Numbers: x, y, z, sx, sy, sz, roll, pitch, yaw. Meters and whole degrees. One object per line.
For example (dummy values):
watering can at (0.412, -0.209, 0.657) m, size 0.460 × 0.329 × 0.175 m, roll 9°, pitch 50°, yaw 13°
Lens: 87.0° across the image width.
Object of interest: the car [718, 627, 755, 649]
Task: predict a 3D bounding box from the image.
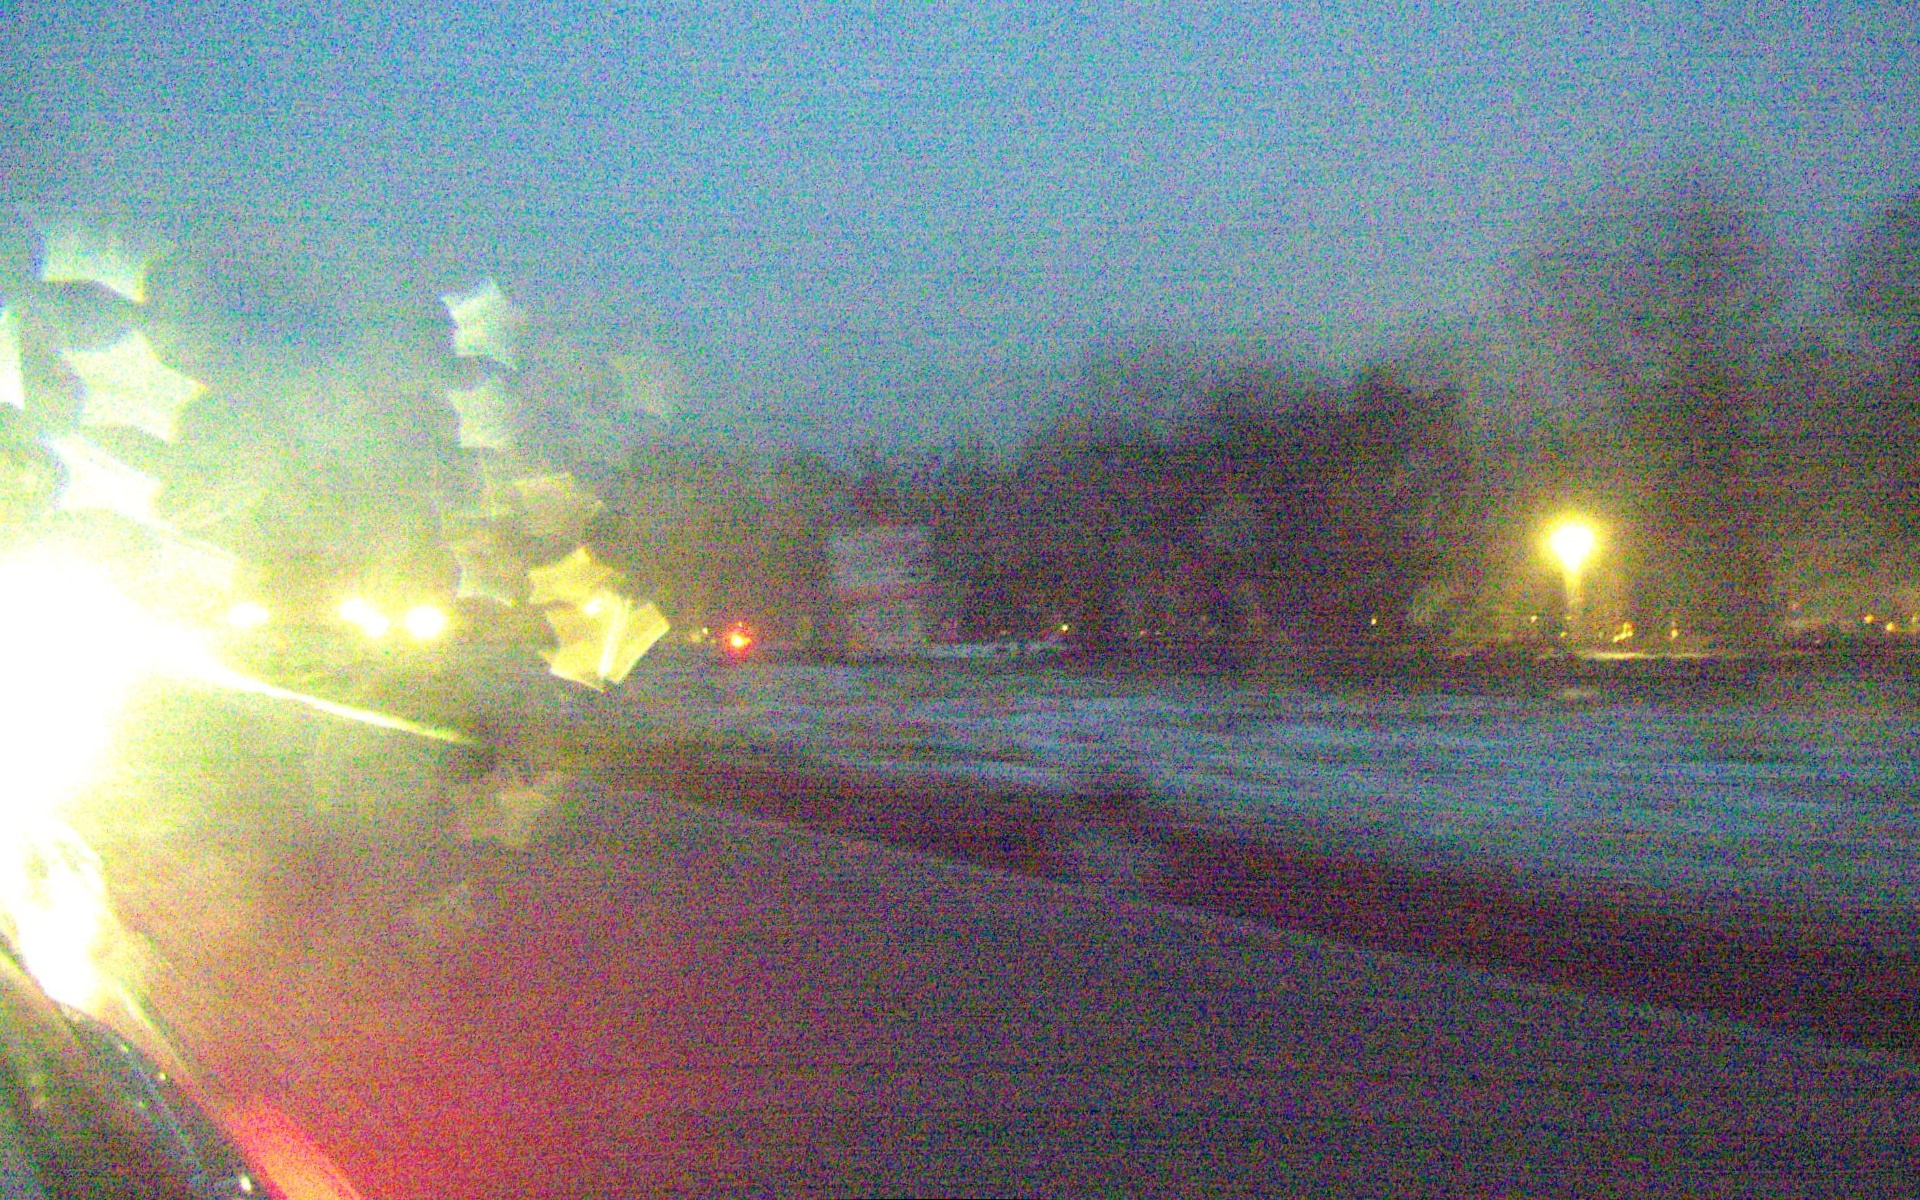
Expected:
car at (-17.787, 2.990, 80.528) m, size 1.633 × 1.532 × 3.458 m, roll -2°, pitch 1°, yaw -34°

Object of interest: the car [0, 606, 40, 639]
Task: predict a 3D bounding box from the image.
car at (-50.865, 1.200, 54.442) m, size 1.931 × 1.735 × 4.005 m, roll 0°, pitch -1°, yaw -41°

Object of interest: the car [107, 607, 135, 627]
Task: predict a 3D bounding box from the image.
car at (-69.324, 1.385, 83.666) m, size 1.713 × 1.554 × 4.007 m, roll -2°, pitch 1°, yaw -39°
